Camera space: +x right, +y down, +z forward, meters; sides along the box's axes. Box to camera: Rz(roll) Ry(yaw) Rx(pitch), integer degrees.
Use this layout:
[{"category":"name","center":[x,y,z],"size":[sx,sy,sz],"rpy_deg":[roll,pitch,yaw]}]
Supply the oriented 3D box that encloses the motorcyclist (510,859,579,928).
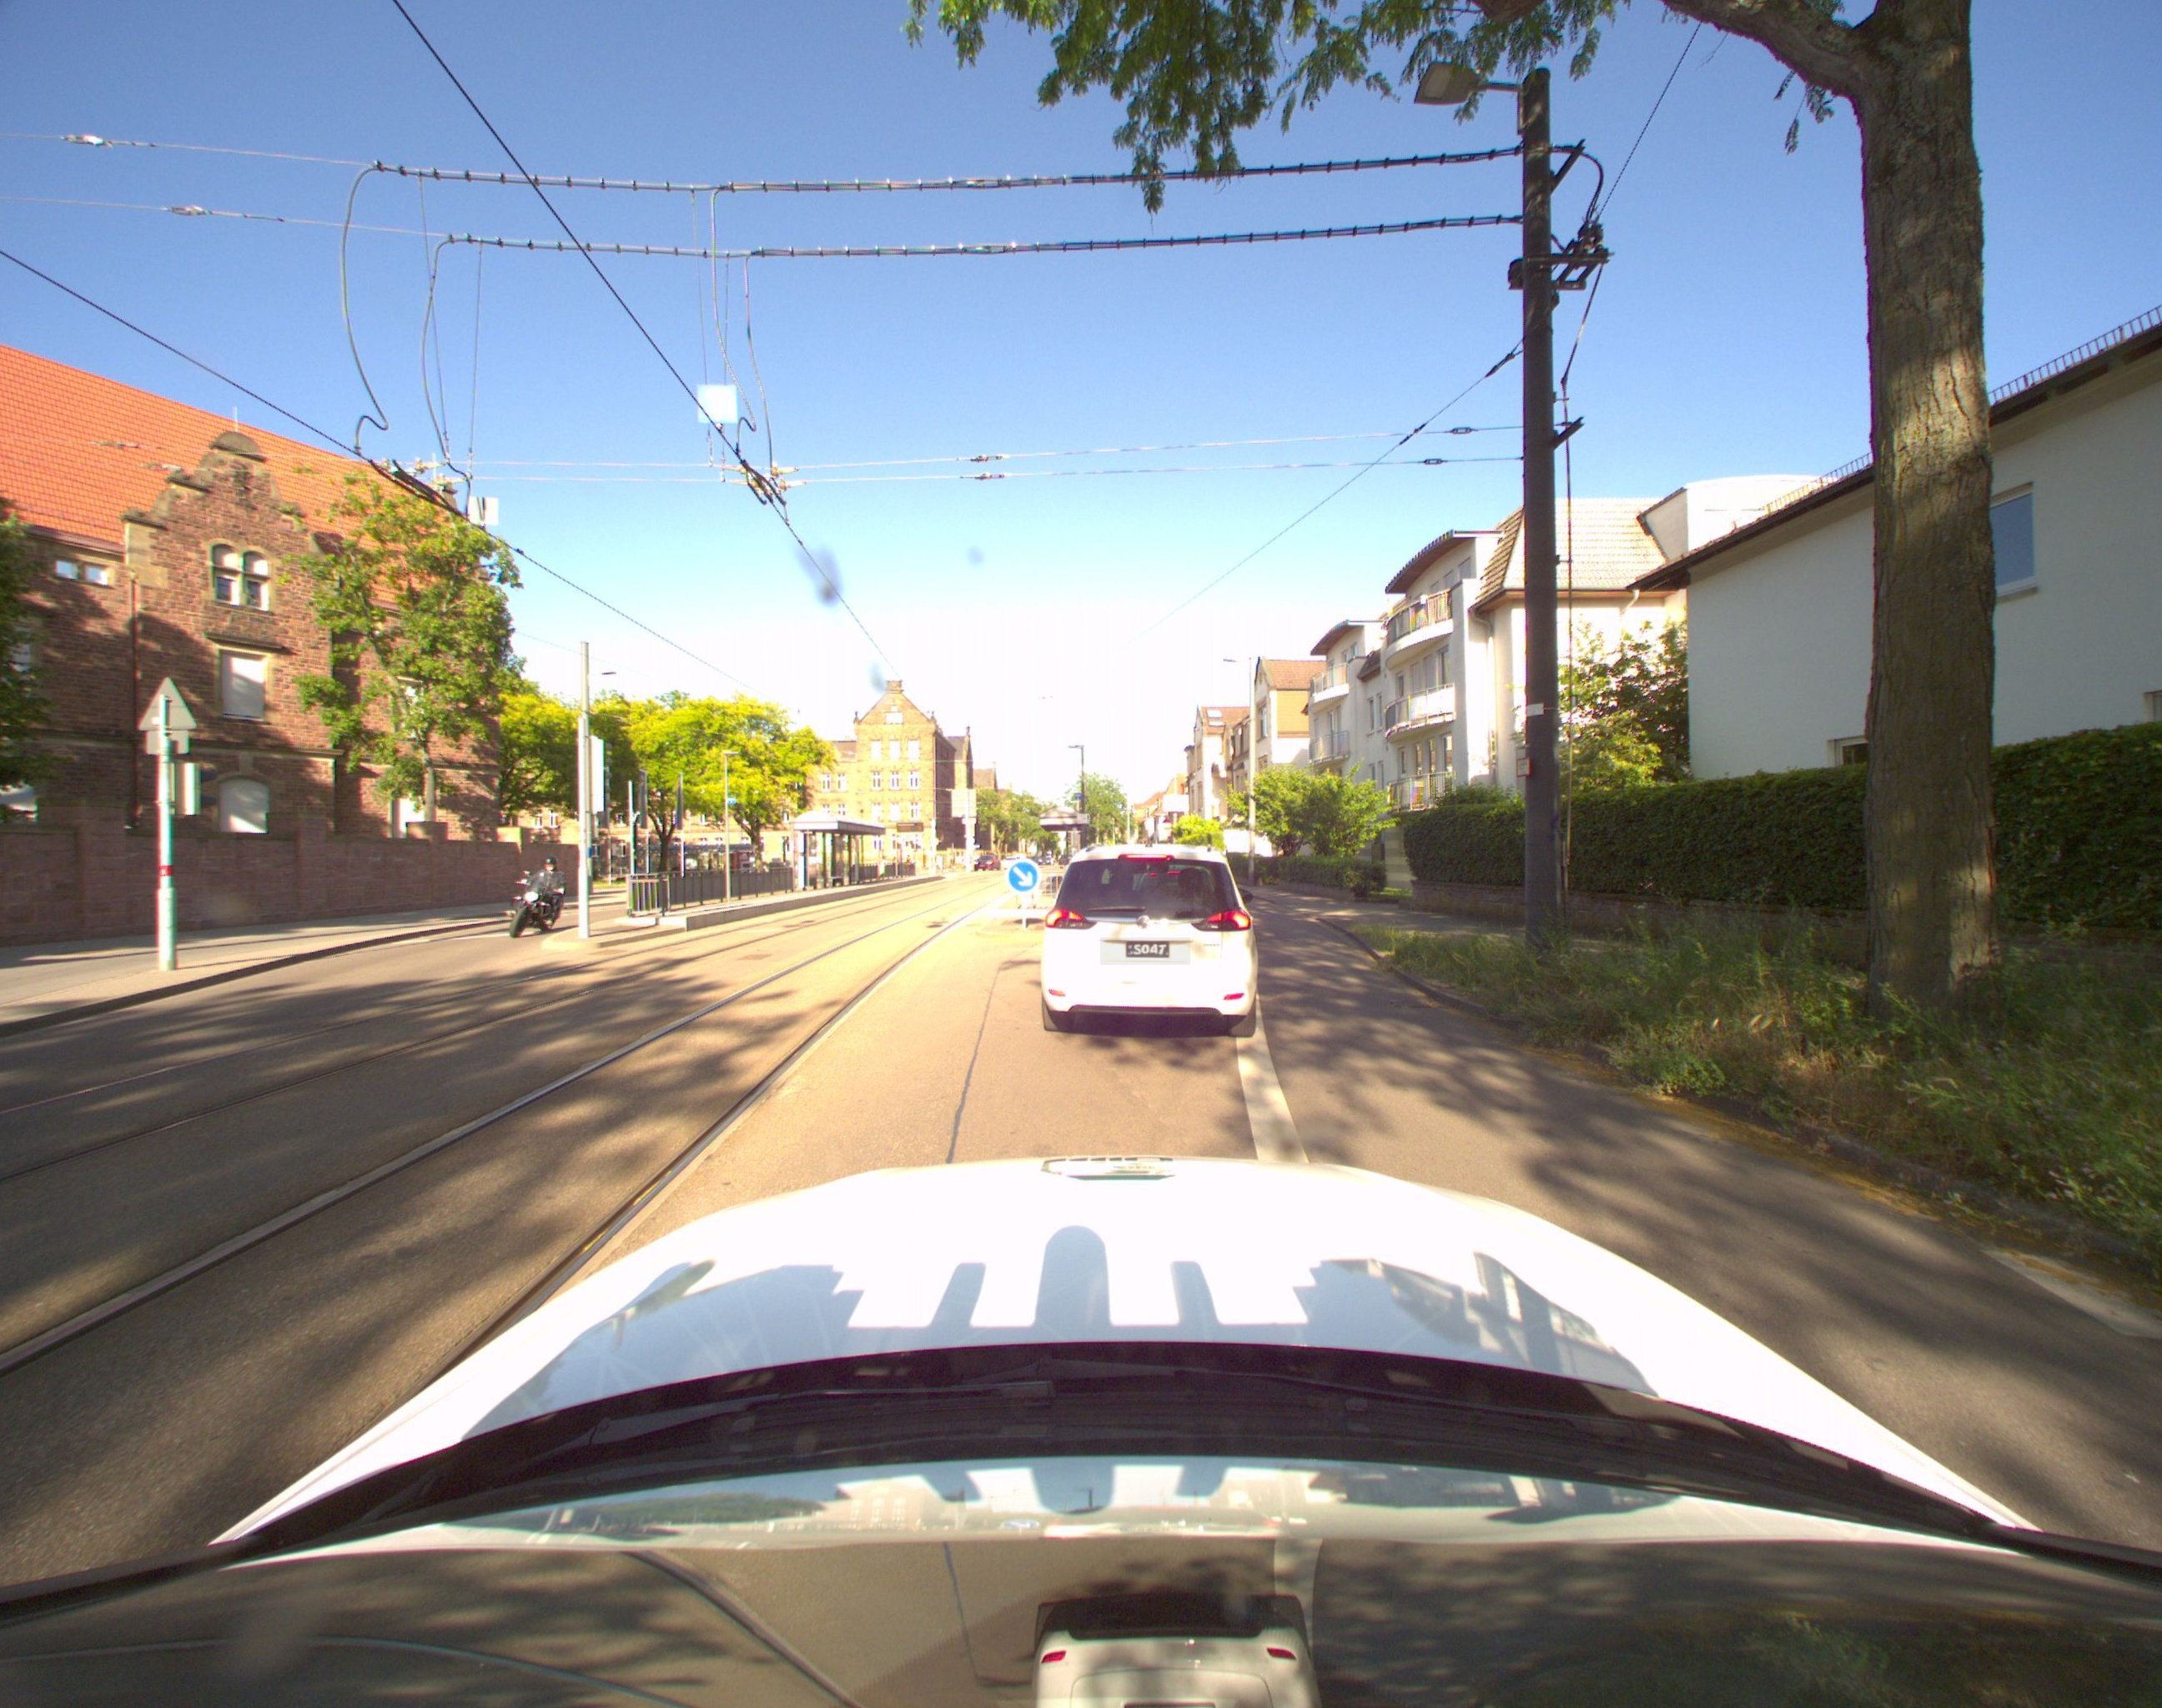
[{"category":"motorcyclist","center":[-11.258,0.802,17.125],"size":[0.888,1.383,0.906],"rpy_deg":[-1,0,-9]}]

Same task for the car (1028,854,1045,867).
[{"category":"car","center":[-5.582,0.797,102.945],"size":[1.987,1.596,3.999],"rpy_deg":[-1,0,-1]}]

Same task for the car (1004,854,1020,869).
[{"category":"car","center":[-8.779,0.936,103.446],"size":[1.693,1.809,4.000],"rpy_deg":[-1,0,0]}]

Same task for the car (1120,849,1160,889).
[{"category":"car","center":[2.576,0.626,36.366],"size":[1.590,1.635,3.903],"rpy_deg":[1,0,2]}]

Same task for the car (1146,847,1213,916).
[{"category":"car","center":[2.563,0.644,21.106],"size":[1.560,1.614,3.792],"rpy_deg":[1,0,7]}]

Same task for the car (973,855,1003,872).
[{"category":"car","center":[-9.341,0.951,81.988],"size":[1.807,1.607,4.371],"rpy_deg":[-1,0,9]}]

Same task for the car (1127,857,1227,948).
[{"category":"car","center":[1.775,0.772,14.868],"size":[1.560,1.401,3.792],"rpy_deg":[1,0,7]}]

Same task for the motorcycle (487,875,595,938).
[{"category":"motorcycle","center":[-11.258,1.045,17.118],"size":[0.911,1.153,2.422],"rpy_deg":[-1,0,-8]}]

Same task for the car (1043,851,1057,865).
[{"category":"car","center":[-4.518,0.601,117.589],"size":[1.989,2.013,3.996],"rpy_deg":[-1,0,-3]}]

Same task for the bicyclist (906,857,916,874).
[{"category":"bicyclist","center":[-15.411,1.033,73.789],"size":[0.651,1.459,1.151],"rpy_deg":[-1,0,-1]}]

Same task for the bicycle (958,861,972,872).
[{"category":"bicycle","center":[-12.660,1.357,88.888],"size":[0.663,1.072,2.024],"rpy_deg":[0,0,18]}]

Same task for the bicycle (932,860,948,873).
[{"category":"bicycle","center":[-14.037,1.221,81.089],"size":[0.810,1.199,1.959],"rpy_deg":[-2,-3,12]}]

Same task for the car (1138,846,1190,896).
[{"category":"car","center":[2.916,0.577,29.240],"size":[1.590,1.635,3.903],"rpy_deg":[1,0,2]}]

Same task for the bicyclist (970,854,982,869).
[{"category":"bicyclist","center":[-11.434,0.803,88.654],"size":[0.754,1.536,1.354],"rpy_deg":[0,0,17]}]

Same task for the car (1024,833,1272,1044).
[{"category":"car","center":[0.755,0.636,8.199],"size":[1.868,1.585,4.008],"rpy_deg":[0,0,7]}]

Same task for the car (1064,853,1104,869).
[{"category":"car","center":[0.312,0.747,88.074],"size":[3.948,1.629,1.682],"rpy_deg":[-1,0,34]}]

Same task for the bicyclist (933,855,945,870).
[{"category":"bicyclist","center":[-14.077,0.826,80.954],"size":[0.751,1.471,1.194],"rpy_deg":[-2,-2,12]}]
